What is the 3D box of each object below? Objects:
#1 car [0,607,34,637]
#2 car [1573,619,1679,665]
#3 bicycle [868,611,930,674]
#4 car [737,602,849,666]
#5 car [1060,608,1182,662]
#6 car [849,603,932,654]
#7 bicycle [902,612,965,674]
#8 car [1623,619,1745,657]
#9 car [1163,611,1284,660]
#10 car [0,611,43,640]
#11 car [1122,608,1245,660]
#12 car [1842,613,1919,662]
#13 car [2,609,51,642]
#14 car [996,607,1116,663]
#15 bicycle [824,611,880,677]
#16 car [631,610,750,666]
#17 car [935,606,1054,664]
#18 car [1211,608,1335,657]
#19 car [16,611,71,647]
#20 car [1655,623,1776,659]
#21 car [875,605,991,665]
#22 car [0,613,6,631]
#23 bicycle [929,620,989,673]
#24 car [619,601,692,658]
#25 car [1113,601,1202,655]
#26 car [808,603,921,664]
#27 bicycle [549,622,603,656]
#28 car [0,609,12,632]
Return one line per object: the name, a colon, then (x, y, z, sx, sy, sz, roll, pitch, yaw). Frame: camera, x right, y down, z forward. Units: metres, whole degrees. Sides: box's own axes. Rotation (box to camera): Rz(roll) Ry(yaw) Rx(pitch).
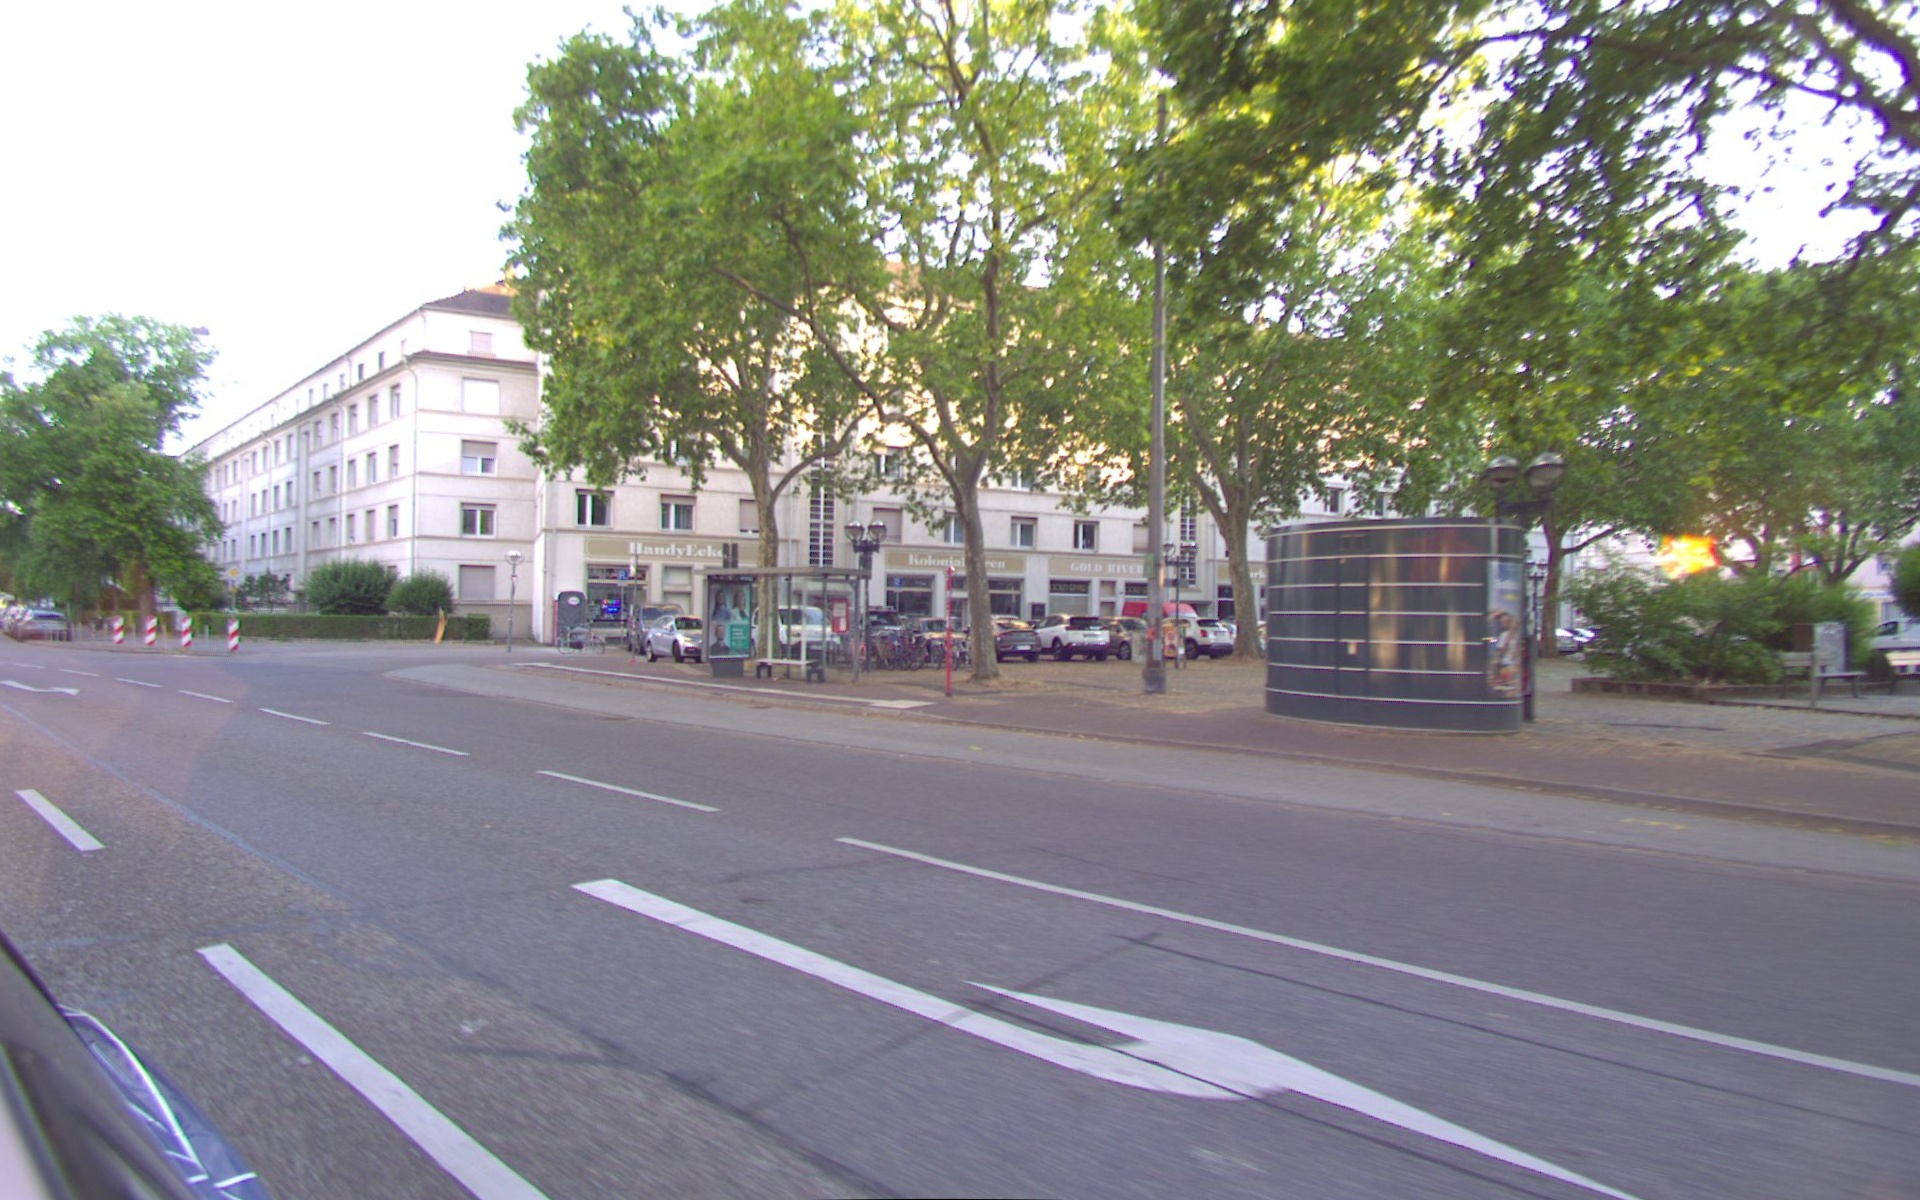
car: (-59.498, 1.335, 63.589, 1.866, 1.787, 4.263, 0, 0, -43)
car: (26.238, 1.623, 39.871, 3.696, 1.674, 1.680, 0, 0, -22)
bicycle: (-1.725, 1.132, 27.925, 0.795, 1.626, 2.754, 0, 0, -24)
car: (-5.207, 1.069, 31.079, 1.965, 1.795, 4.655, 2, -3, -28)
car: (5.730, 1.297, 36.577, 1.965, 1.795, 4.655, 2, -3, -28)
car: (-3.087, 1.192, 43.892, 1.965, 1.970, 4.656, 2, 0, -26)
bicycle: (-0.781, 1.166, 28.431, 0.795, 1.626, 2.754, 0, 0, -24)
car: (36.713, 1.935, 51.409, 1.968, 1.824, 4.659, 3, -4, -38)
car: (10.171, 1.412, 39.451, 1.965, 1.795, 4.655, 2, -3, -28)
car: (-55.202, 1.474, 59.462, 1.866, 1.612, 4.263, 0, 0, -43)
car: (8.316, 1.320, 38.050, 1.965, 1.795, 4.655, 2, -3, -28)
car: (39.165, 1.537, 41.053, 1.965, 1.953, 4.655, 2, -3, -28)
car: (-50.490, 1.344, 54.715, 1.866, 1.703, 4.263, 0, 0, -43)
car: (3.269, 1.246, 35.418, 1.965, 1.795, 4.655, 2, -3, -28)
bicycle: (-2.913, 1.124, 27.010, 0.680, 1.626, 2.754, 0, 0, -24)
car: (-8.132, 1.156, 30.240, 1.966, 1.515, 4.652, 3, -4, -34)
car: (1.081, 1.218, 34.457, 1.965, 1.795, 4.655, 2, -3, -28)
car: (12.349, 1.315, 40.240, 1.965, 1.795, 4.655, 2, -3, -28)
car: (-44.194, 1.375, 48.781, 1.866, 1.612, 4.004, 0, 0, -43)
car: (39.012, 2.117, 52.354, 1.968, 1.748, 4.648, 3, -4, -40)
car: (-0.984, 1.183, 33.396, 1.965, 1.795, 4.655, 2, -3, -28)
car: (-89.619, 2.047, 93.655, 1.866, 1.612, 4.263, 0, 0, -43)
bicycle: (-0.066, 1.299, 28.937, 0.680, 1.394, 2.754, 0, 0, -24)
car: (-11.935, 1.088, 39.458, 1.965, 1.970, 4.656, 2, 0, -26)
car: (9.928, 1.380, 51.340, 1.965, 2.460, 4.656, 2, 0, -26)
car: (-3.149, 1.124, 32.515, 1.965, 1.795, 4.655, 2, -3, -28)
bicycle: (-14.044, 1.407, 37.069, 1.776, 1.215, 0.649, 0, 0, -16)
car: (-82.708, 1.752, 86.871, 1.866, 1.879, 4.263, 0, 0, -43)
